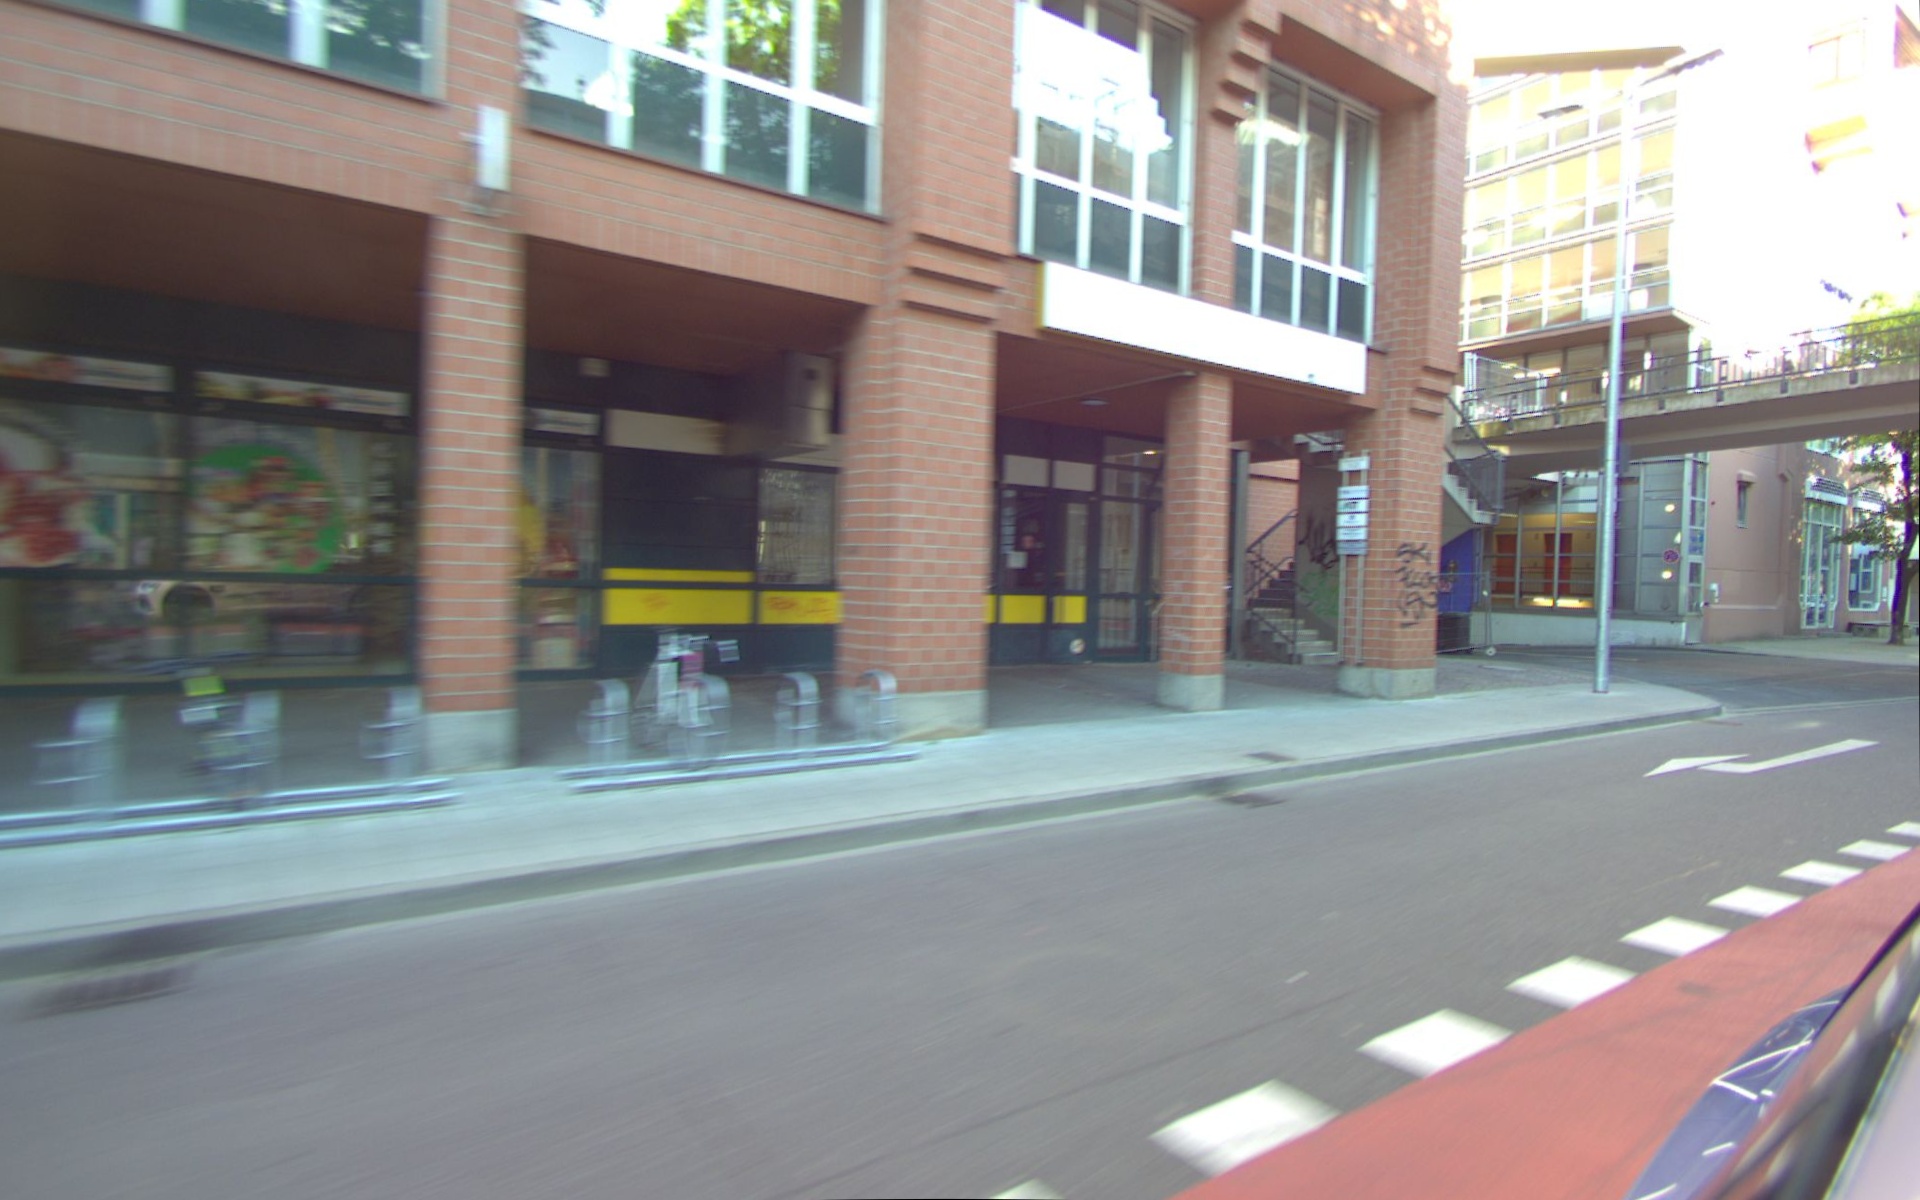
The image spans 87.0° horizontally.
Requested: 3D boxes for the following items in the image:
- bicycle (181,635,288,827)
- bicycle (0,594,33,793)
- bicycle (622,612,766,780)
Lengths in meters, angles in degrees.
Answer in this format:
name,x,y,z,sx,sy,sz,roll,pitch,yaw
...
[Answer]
name,x,y,z,sx,sy,sz,roll,pitch,yaw
bicycle,-4.201,0.703,5.910,0.416,0.851,1.340,1,4,-32
bicycle,-5.428,0.566,5.221,0.561,1.069,1.942,1,4,-31
bicycle,-2.008,0.646,7.487,0.544,0.966,1.619,1,4,-32
